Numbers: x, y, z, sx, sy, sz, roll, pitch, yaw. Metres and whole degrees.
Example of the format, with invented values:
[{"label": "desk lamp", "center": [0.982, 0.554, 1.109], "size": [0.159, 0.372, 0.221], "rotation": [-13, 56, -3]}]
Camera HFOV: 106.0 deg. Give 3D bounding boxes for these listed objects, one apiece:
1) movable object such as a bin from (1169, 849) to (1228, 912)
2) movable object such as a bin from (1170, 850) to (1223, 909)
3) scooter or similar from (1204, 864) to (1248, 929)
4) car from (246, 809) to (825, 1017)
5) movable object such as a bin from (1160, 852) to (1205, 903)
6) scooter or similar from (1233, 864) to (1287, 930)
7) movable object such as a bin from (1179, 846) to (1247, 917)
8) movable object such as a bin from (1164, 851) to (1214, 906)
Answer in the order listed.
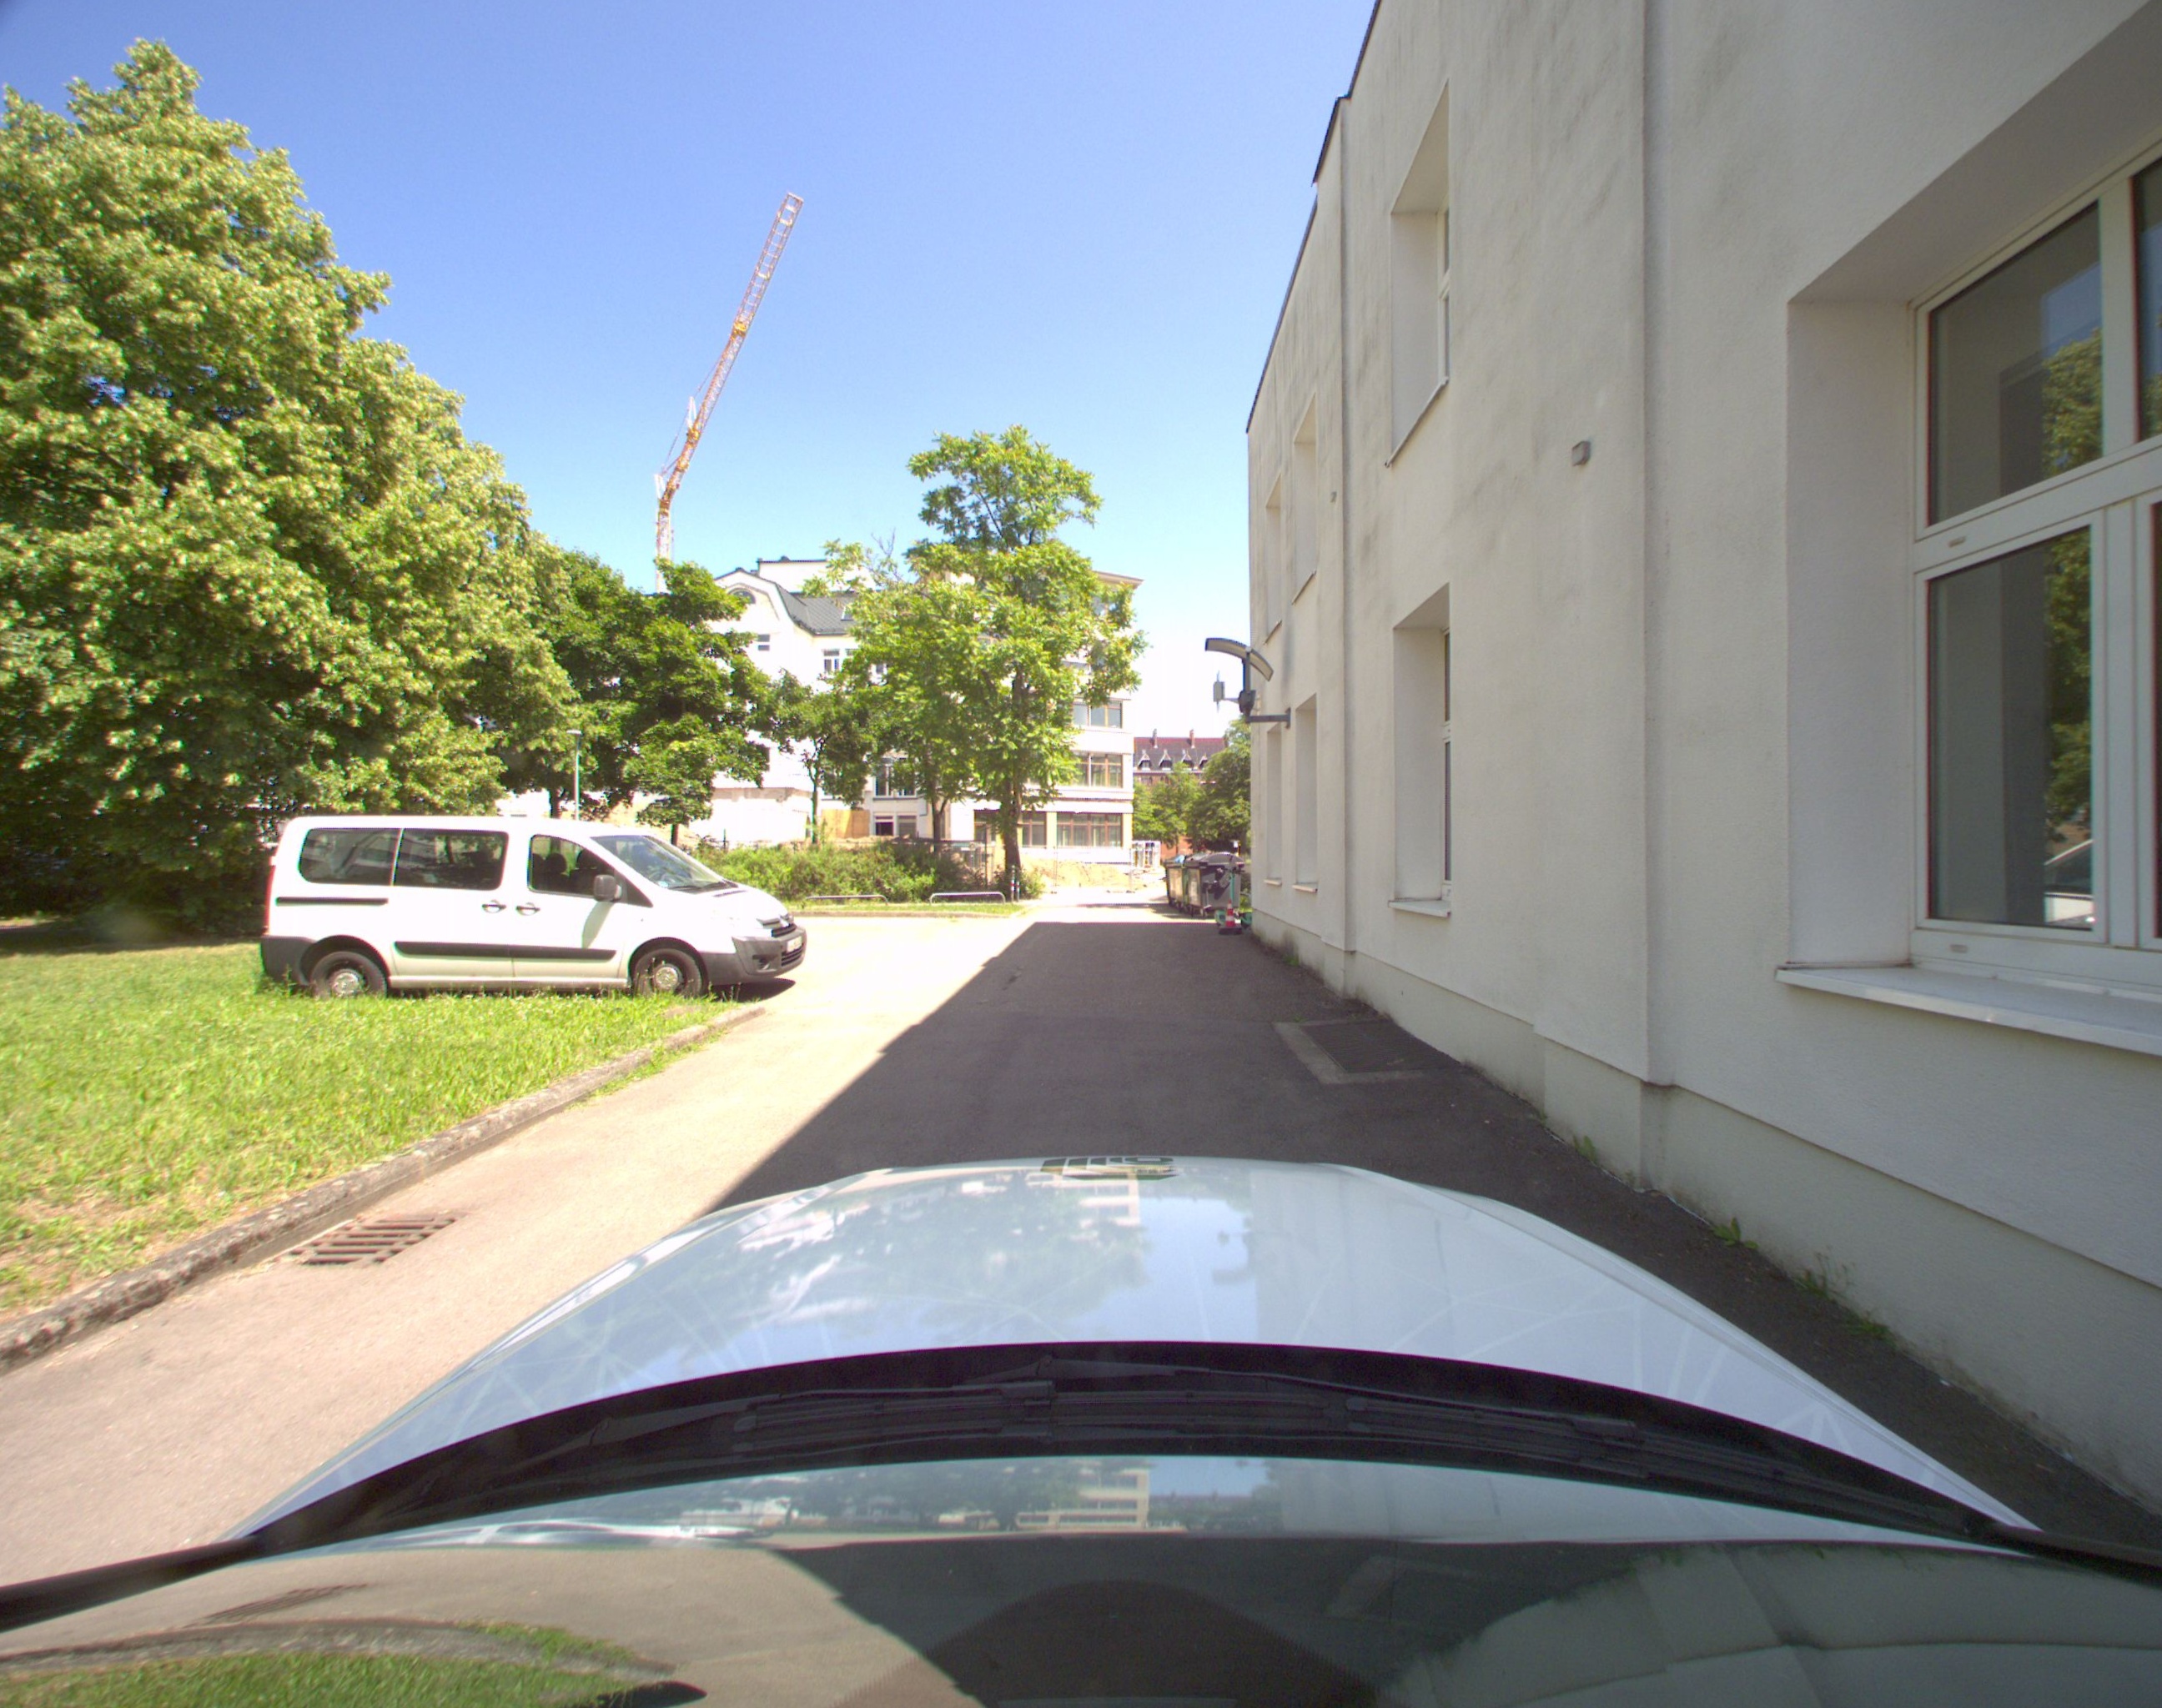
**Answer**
[{"label": "movable object such as a bin", "center": [2.824, 0.646, 19.775], "size": [1.176, 1.470, 1.309], "rotation": [0, -1, -4]}, {"label": "movable object such as a bin", "center": [2.986, 0.661, 21.156], "size": [1.176, 1.470, 1.310], "rotation": [0, -1, -2]}, {"label": "scooter or similar", "center": [2.700, 0.769, 15.277], "size": [0.463, 1.174, 1.354], "rotation": [0, -1, -6]}, {"label": "car", "center": [-5.470, 0.532, 8.778], "size": [4.777, 1.911, 1.998], "rotation": [-1, 1, -3]}, {"label": "movable object such as a bin", "center": [3.024, 0.698, 24.138], "size": [1.170, 1.470, 1.338], "rotation": [0, -1, 13]}, {"label": "scooter or similar", "center": [3.298, 0.771, 15.093], "size": [0.464, 1.174, 1.250], "rotation": [0, -1, -15]}, {"label": "movable object such as a bin", "center": [2.898, 0.602, 18.037], "size": [1.154, 1.505, 1.459], "rotation": [1, -1, -7]}, {"label": "movable object such as a bin", "center": [2.974, 0.682, 22.599], "size": [1.176, 1.470, 1.310], "rotation": [0, -1, -3]}]
